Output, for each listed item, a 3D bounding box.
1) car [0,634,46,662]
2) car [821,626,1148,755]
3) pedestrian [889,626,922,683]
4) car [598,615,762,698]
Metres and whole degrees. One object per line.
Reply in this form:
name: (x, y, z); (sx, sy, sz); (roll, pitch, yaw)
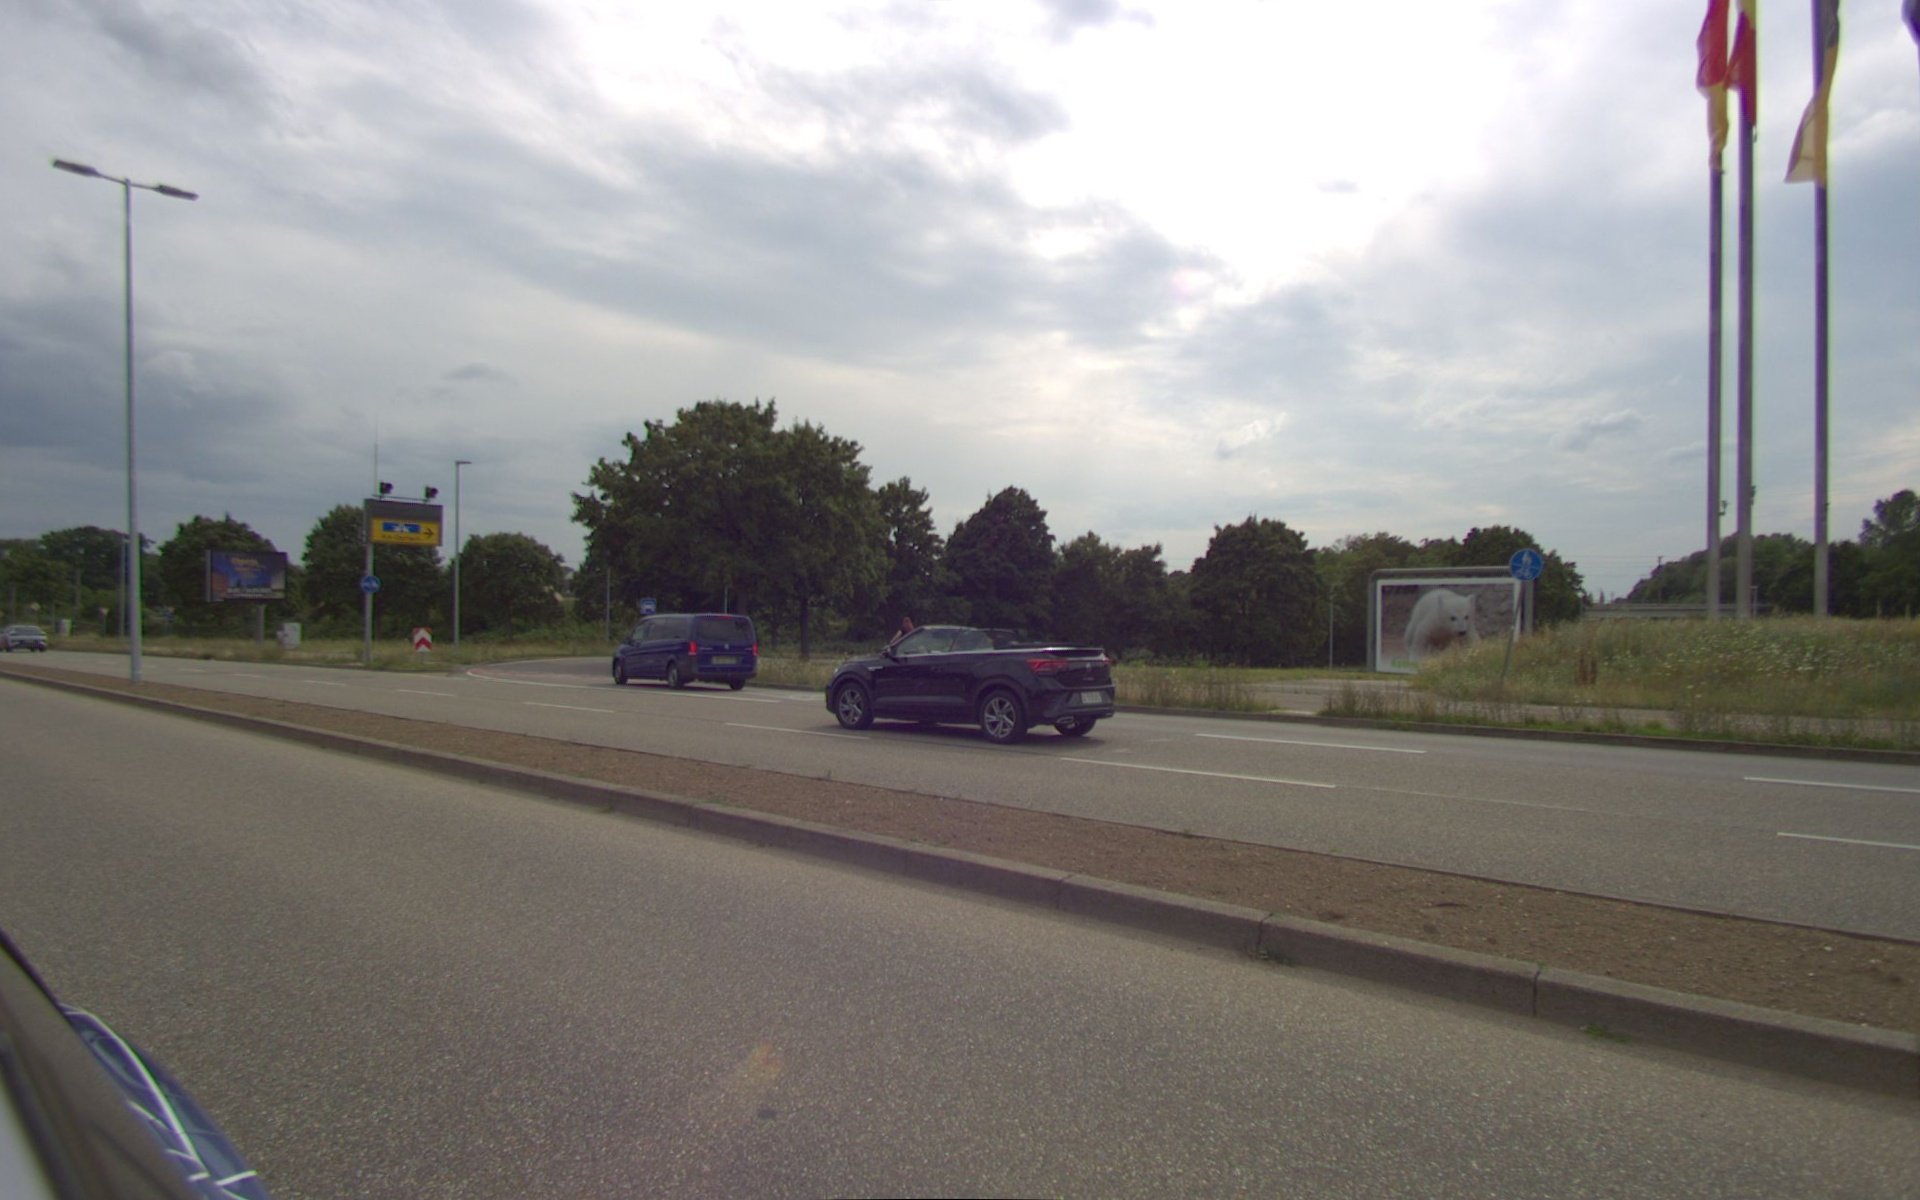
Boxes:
car: (-56.605, 2.887, 60.814); (4.556, 1.613, 1.829); (-2, -2, 39)
car: (0.219, 1.101, 13.396); (4.174, 1.452, 1.745); (-2, -3, 40)
pedestrian: (-1.646, 1.636, 30.478); (0.853, 1.706, 0.681); (1, -3, -20)
car: (-7.316, 1.433, 26.035); (1.824, 1.908, 5.512); (4, -4, -41)
